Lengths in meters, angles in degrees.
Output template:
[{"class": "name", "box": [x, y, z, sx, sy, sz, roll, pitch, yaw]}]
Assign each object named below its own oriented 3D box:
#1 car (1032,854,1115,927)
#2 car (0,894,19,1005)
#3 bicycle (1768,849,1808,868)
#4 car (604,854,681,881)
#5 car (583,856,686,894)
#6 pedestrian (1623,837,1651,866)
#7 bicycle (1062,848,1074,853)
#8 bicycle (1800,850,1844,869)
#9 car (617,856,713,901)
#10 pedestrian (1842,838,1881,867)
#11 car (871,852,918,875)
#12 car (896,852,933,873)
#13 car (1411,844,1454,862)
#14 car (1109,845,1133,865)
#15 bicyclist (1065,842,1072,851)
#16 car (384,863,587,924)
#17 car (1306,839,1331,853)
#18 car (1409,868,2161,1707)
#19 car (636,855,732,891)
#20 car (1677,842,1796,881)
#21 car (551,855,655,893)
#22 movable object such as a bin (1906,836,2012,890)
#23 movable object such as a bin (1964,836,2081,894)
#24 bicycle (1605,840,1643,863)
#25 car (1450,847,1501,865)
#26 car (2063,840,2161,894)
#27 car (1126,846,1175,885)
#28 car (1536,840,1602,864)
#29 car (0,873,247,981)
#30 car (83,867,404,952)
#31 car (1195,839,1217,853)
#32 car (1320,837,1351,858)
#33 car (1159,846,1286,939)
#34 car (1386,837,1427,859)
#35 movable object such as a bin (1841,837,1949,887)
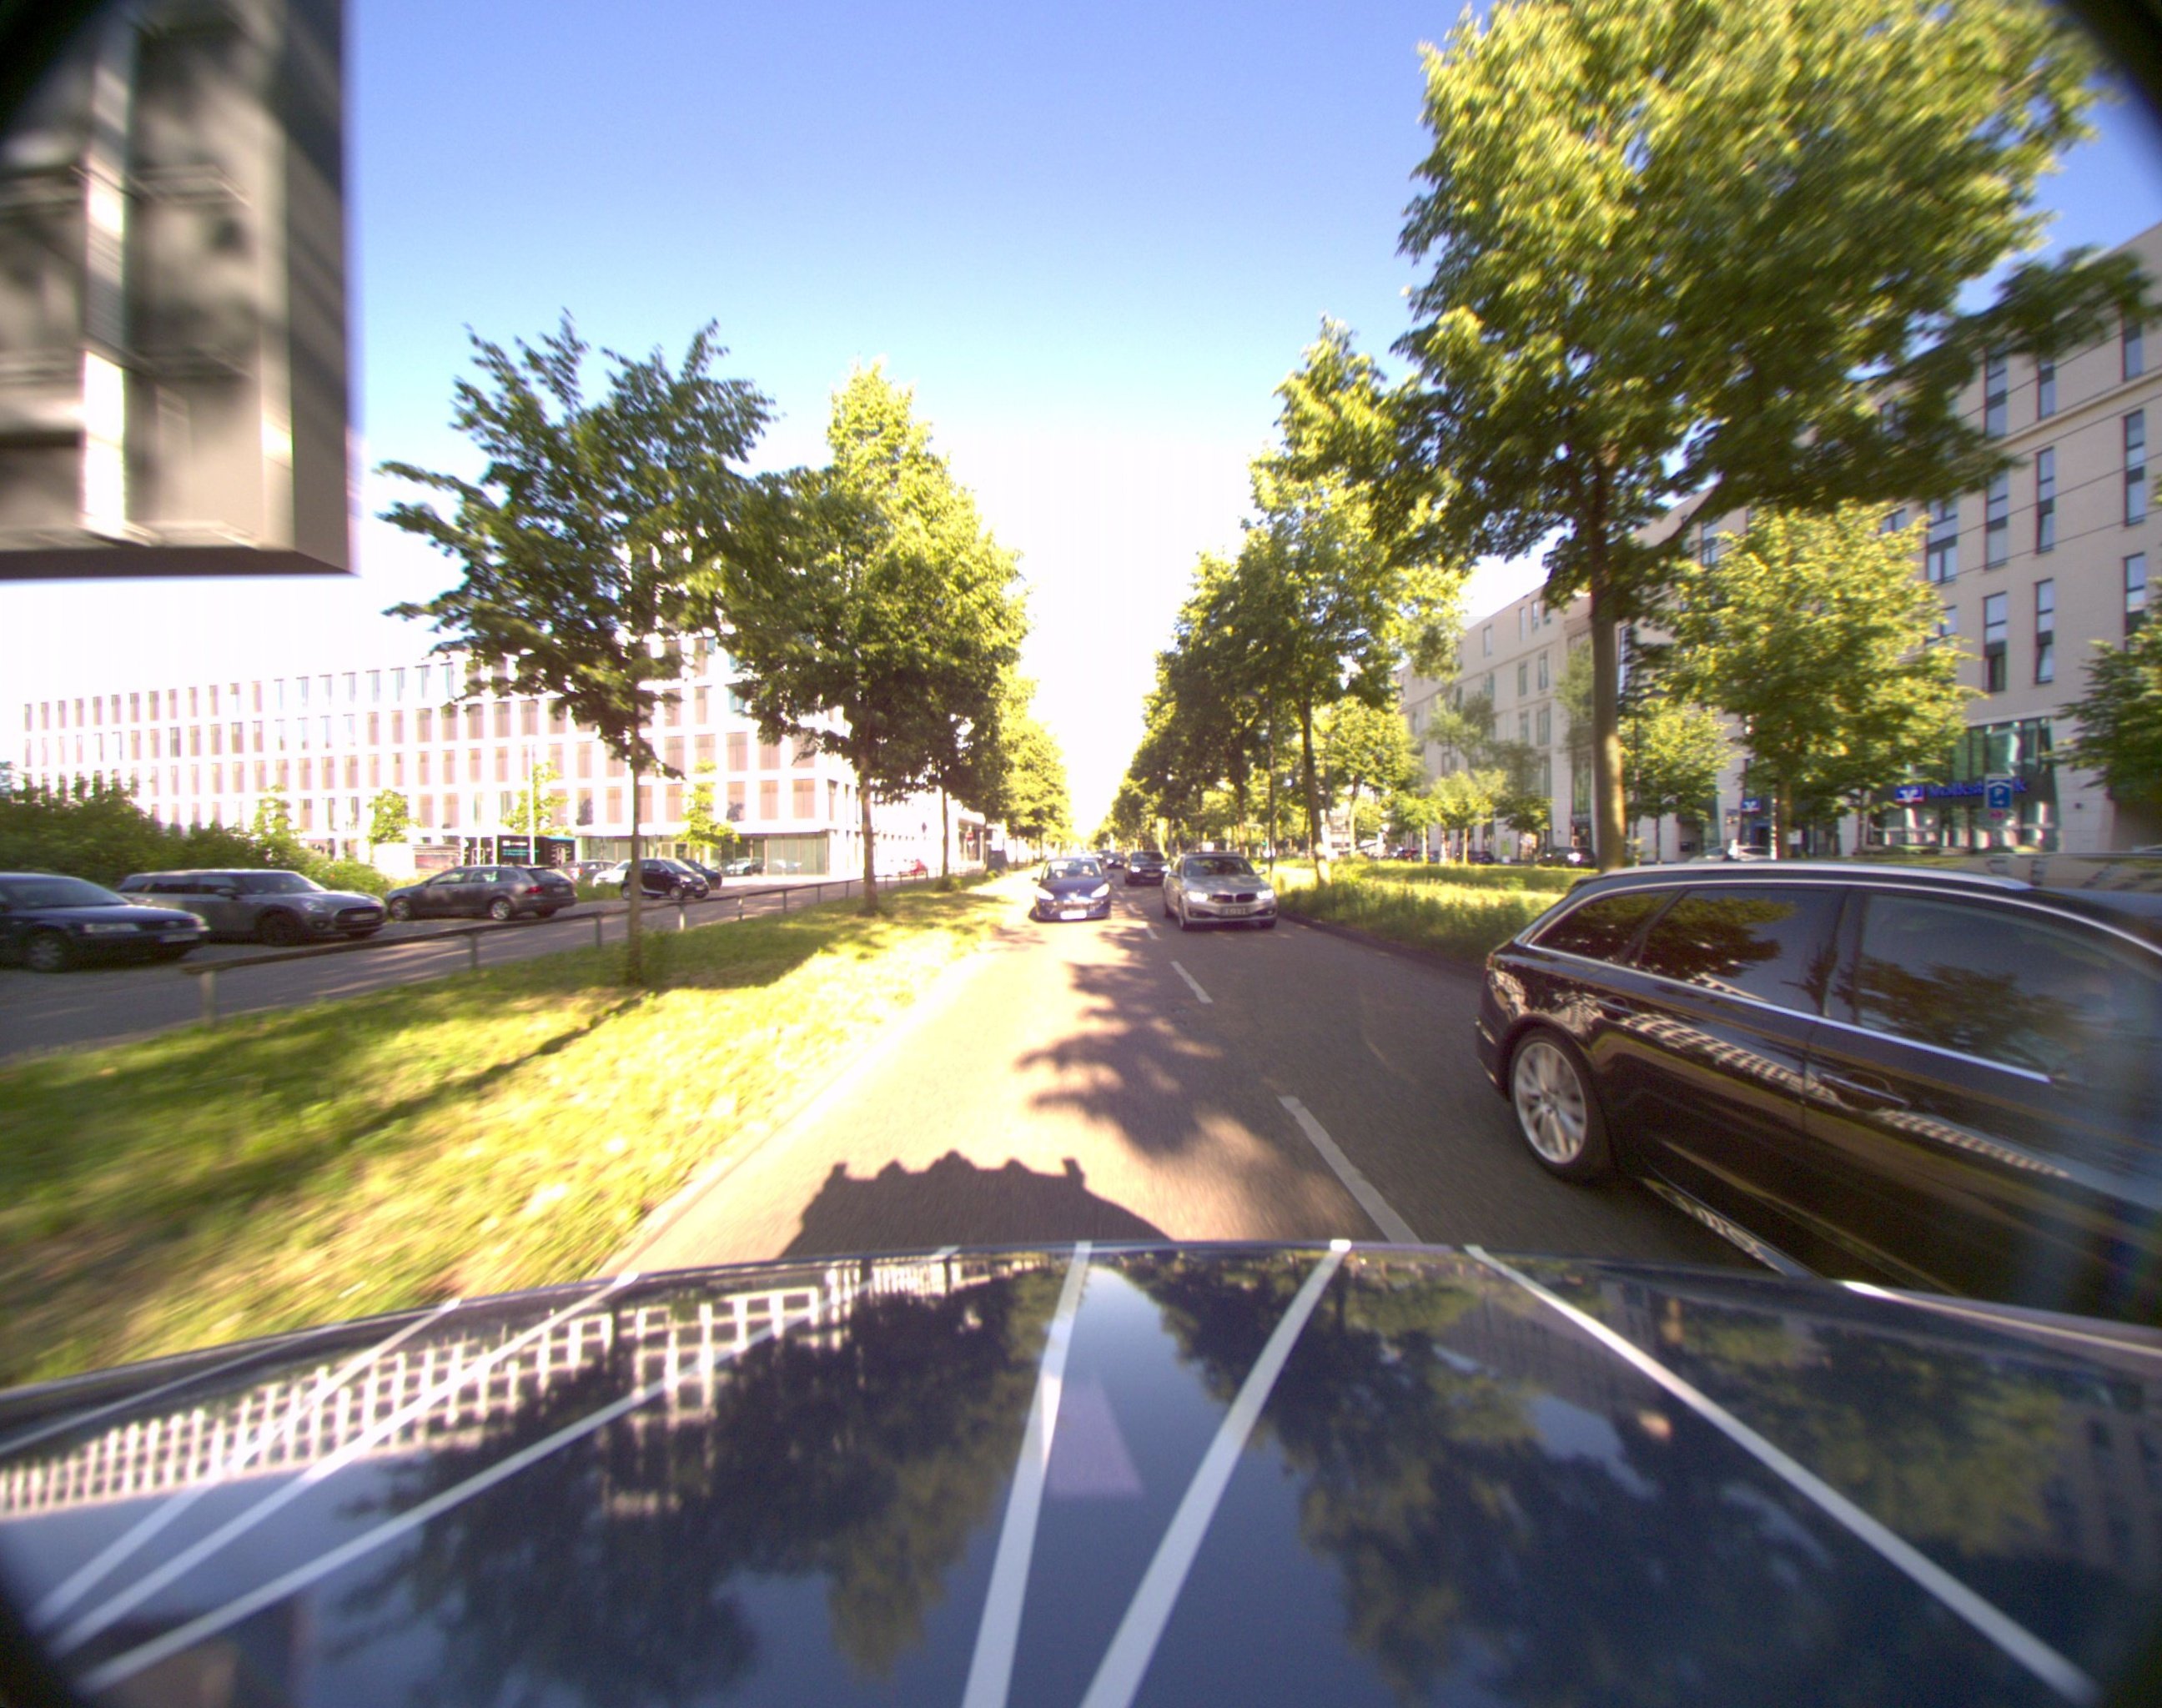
[{"class": "car", "box": [-0.099, 0.804, 18.638, 1.766, 1.462, 4.000, -2, 1, 2]}, {"class": "car", "box": [-15.989, 1.119, 8.945, 4.390, 1.403, 2.000, 3, 1, 3]}, {"class": "bicycle", "box": [38.964, 0.227, 41.897, 0.619, 0.983, 1.848, -2, 1, 6]}, {"class": "car", "box": [-28.523, 0.853, 49.550, 1.996, 1.565, 4.003, -2, 1, 15]}, {"class": "car", "box": [-20.882, 0.936, 35.736, 1.748, 1.527, 3.886, -2, 1, 19]}, {"class": "pedestrian", "box": [34.360, -0.150, 46.953, 0.844, 1.733, 1.223, -2, 1, 1]}, {"class": "bicycle", "box": [-2.105, -0.577, 121.751, 1.927, 0.899, 0.647, -1, 1, 4]}, {"class": "bicycle", "box": [38.856, 0.275, 39.865, 0.581, 0.948, 1.848, -3, 1, 3]}, {"class": "car", "box": [-15.240, 0.858, 27.881, 2.771, 1.541, 1.463, 0, 2, 10]}, {"class": "pedestrian", "box": [40.713, -0.091, 39.636, 0.949, 1.459, 1.026, -3, 1, -8]}, {"class": "car", "box": [-13.293, 0.664, 54.497, 1.998, 1.477, 4.402, 2, 1, 3]}, {"class": "car", "box": [-12.943, 0.664, 59.381, 1.869, 1.477, 4.272, 2, 1, 1]}, {"class": "car", "box": [32.038, -0.124, 69.382, 1.999, 1.563, 3.999, -1, 1, -1]}, {"class": "car", "box": [3.298, 0.061, 63.307, 1.782, 1.571, 3.783, -2, 1, 1]}, {"class": "bicyclist", "box": [-1.947, -1.225, 121.722, 1.086, 1.315, 0.639, -1, 1, 4]}, {"class": "car", "box": [-15.781, 1.022, 20.268, 4.089, 1.459, 1.715, 1, 1, 2]}, {"class": "car", "box": [33.690, -1.125, 107.974, 2.106, 1.798, 4.419, -3, 1, -1]}, {"class": "car", "box": [2.919, 0.819, 1.835, 1.958, 1.471, 5.084, -1, 0, -1]}, {"class": "car", "box": [-18.244, 0.837, 35.121, 1.594, 1.536, 3.825, 0, 0, 20]}, {"class": "car", "box": [31.868, 0.306, 37.119, 1.999, 1.719, 4.337, -3, 1, -2]}, {"class": "car", "box": [-22.942, 0.928, 36.650, 1.719, 1.531, 3.955, -2, 1, 19]}, {"class": "movable object such as a bin", "box": [31.224, 0.305, 27.056, 1.975, 1.784, 1.555, -3, 1, -1]}, {"class": "movable object such as a bin", "box": [31.235, 0.336, 25.254, 1.975, 1.784, 1.555, -3, 1, -1]}, {"class": "bicycle", "box": [38.996, -0.191, 54.590, 0.619, 1.537, 3.034, -2, 1, 3]}, {"class": "car", "box": [32.008, 0.119, 61.731, 1.728, 1.405, 4.336, -1, 1, -3]}, {"class": "car", "box": [31.444, 0.369, 21.527, 1.999, 1.433, 4.018, -3, 1, -2]}, {"class": "car", "box": [3.040, 0.472, 33.928, 1.950, 1.514, 4.000, -2, 1, 3]}, {"class": "car", "box": [31.632, -0.133, 49.382, 1.562, 1.471, 4.270, -2, 1, 0]}, {"class": "car", "box": [-16.324, 1.072, 11.863, 4.340, 1.469, 1.906, 1, 0, -3]}, {"class": "car", "box": [-16.246, 1.041, 14.924, 4.202, 1.490, 1.782, 0, 1, -2]}, {"class": "car", "box": [23.099, -1.447, 140.963, 2.513, 2.368, 6.024, -3, 1, -5]}, {"class": "car", "box": [26.312, -0.721, 78.657, 1.998, 2.002, 4.000, -2, 1, 4]}, {"class": "car", "box": [2.785, 0.677, 15.889, 1.886, 1.569, 4.277, -2, 1, 1]}, {"class": "car", "box": [31.983, -0.602, 74.785, 1.999, 2.002, 4.553, -1, 1, -2]}, {"class": "movable object such as a bin", "box": [31.121, 0.274, 29.113, 1.975, 1.784, 2.010, -3, 1, -2]}]
